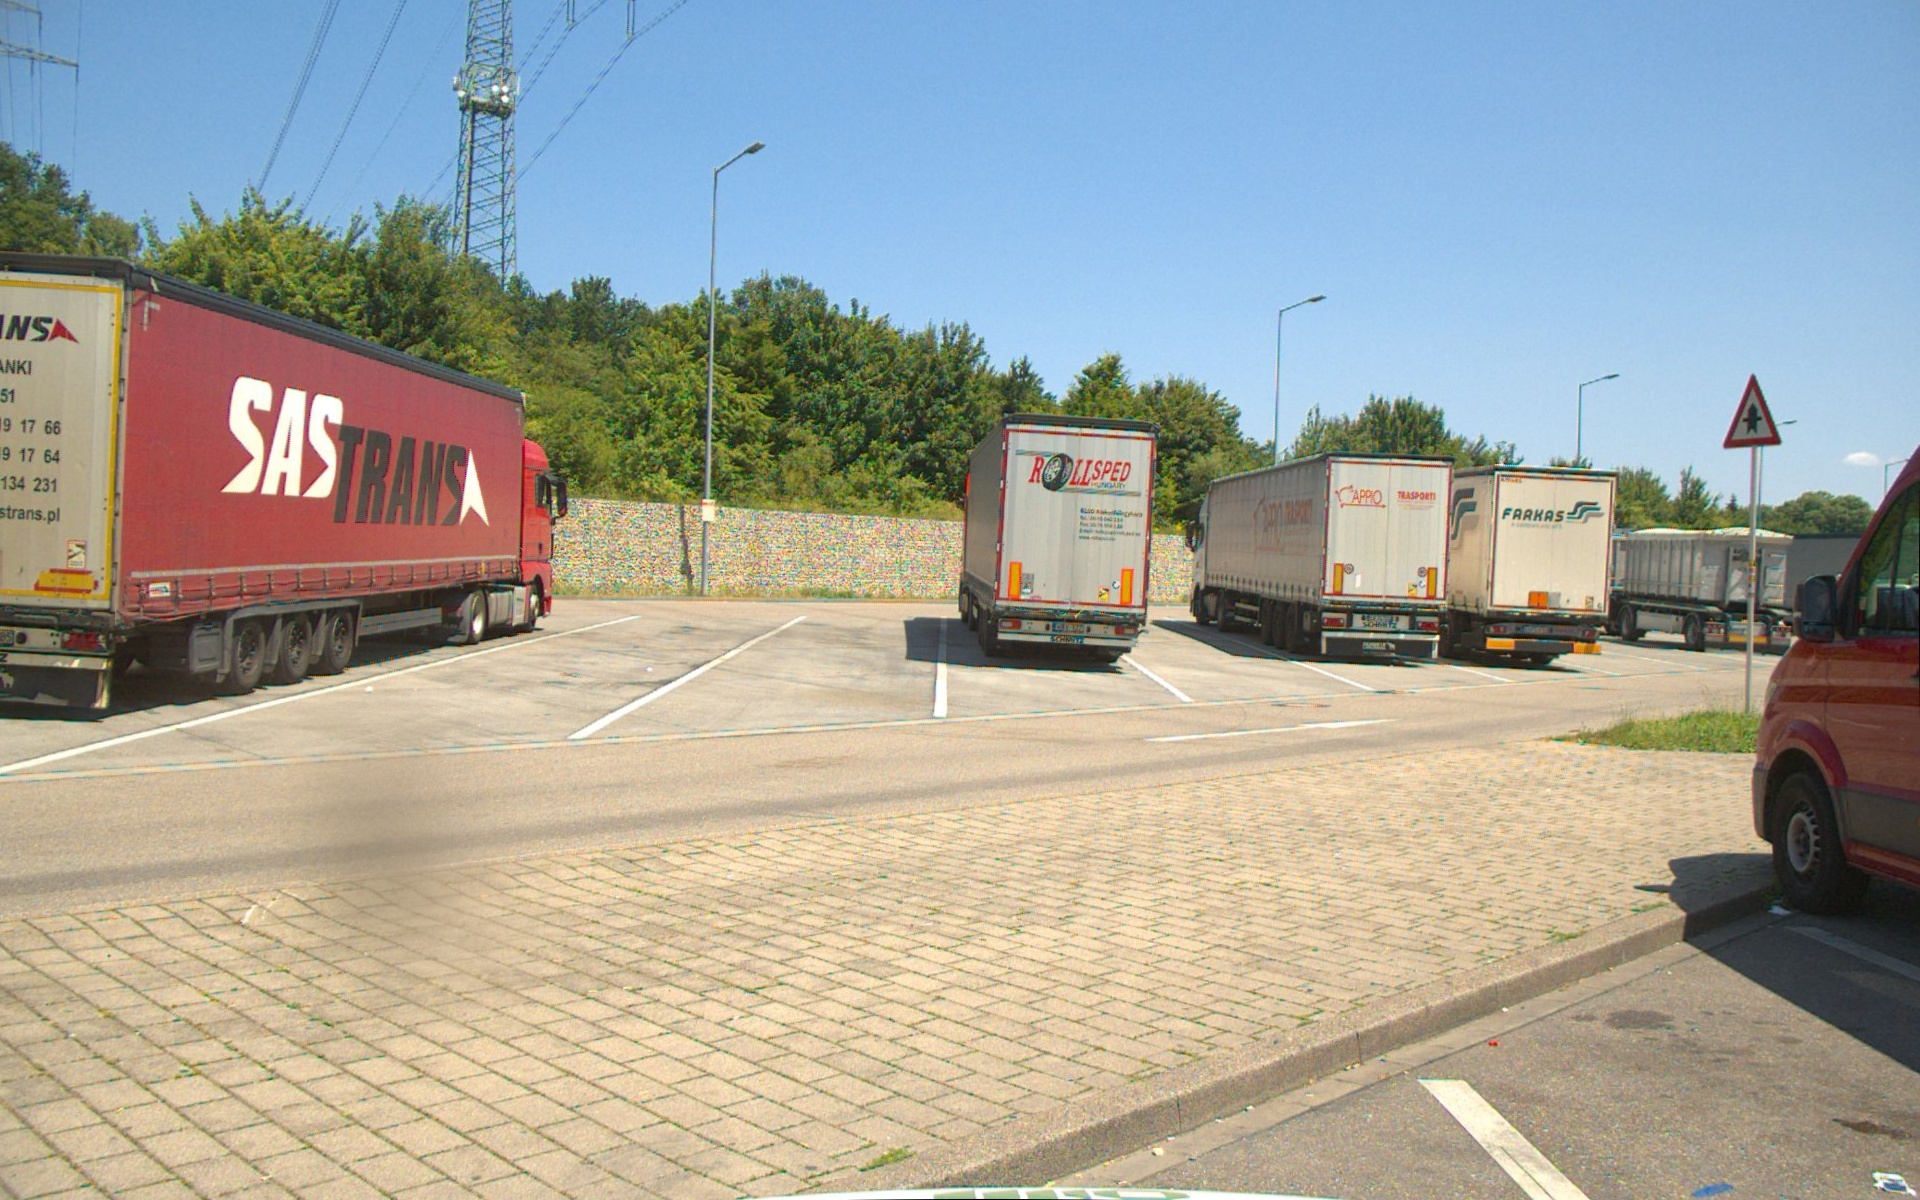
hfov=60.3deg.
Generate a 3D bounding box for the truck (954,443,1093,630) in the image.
[{"bbox_3d":[1.428,-1.569,40.750,2.809,4.107,7.026,2,2,-2],"label":"truck"}]

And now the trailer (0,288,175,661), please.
[{"bbox_3d":[-12.546,-1.411,17.164,2.756,4.340,12.940,2,2,-1],"label":"trailer"}]

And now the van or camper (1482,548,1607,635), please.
[{"bbox_3d":[18.488,-0.314,52.632,2.061,2.606,5.372,1,1,0],"label":"van or camper"}]

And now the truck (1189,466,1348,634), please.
[{"bbox_3d":[8.171,-1.386,44.735,2.808,4.107,6.956,2,2,-1],"label":"truck"}]

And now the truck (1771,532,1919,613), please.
[{"bbox_3d":[34.709,-1.061,63.632,2.082,2.869,9.777,1,1,-1],"label":"truck"}]

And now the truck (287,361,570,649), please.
[{"bbox_3d":[-8.695,-1.534,27.879,2.641,4.184,6.239,2,2,0],"label":"truck"}]

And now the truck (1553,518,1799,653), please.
[{"bbox_3d":[21.753,-0.646,51.241,2.437,3.630,11.423,2,2,-1],"label":"truck"}]

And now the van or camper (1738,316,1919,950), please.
[{"bbox_3d":[4.989,0.175,5.559,1.954,2.700,6.482,1,1,3],"label":"van or camper"}]

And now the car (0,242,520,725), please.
[{"bbox_3d":[-8.675,-1.285,20.962,2.641,4.184,12.935,2,2,0],"label":"car"}]

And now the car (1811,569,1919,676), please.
[{"bbox_3d":[20.645,0.431,36.883,1.962,2.187,5.288,1,1,38],"label":"car"}]

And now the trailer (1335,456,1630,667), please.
[{"bbox_3d":[11.826,-1.023,39.221,2.808,4.107,12.438,2,2,-1],"label":"trailer"}]

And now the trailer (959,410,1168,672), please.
[{"bbox_3d":[1.657,-1.242,33.670,2.809,4.107,14.238,2,2,-2],"label":"trailer"}]

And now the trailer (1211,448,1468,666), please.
[{"bbox_3d":[8.249,-1.090,38.104,2.808,4.107,12.438,2,2,-1],"label":"trailer"}]

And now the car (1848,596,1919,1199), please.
[{"bbox_3d":[2.538,0.796,1.112,1.584,1.509,3.762,1,1,-6],"label":"car"}]
